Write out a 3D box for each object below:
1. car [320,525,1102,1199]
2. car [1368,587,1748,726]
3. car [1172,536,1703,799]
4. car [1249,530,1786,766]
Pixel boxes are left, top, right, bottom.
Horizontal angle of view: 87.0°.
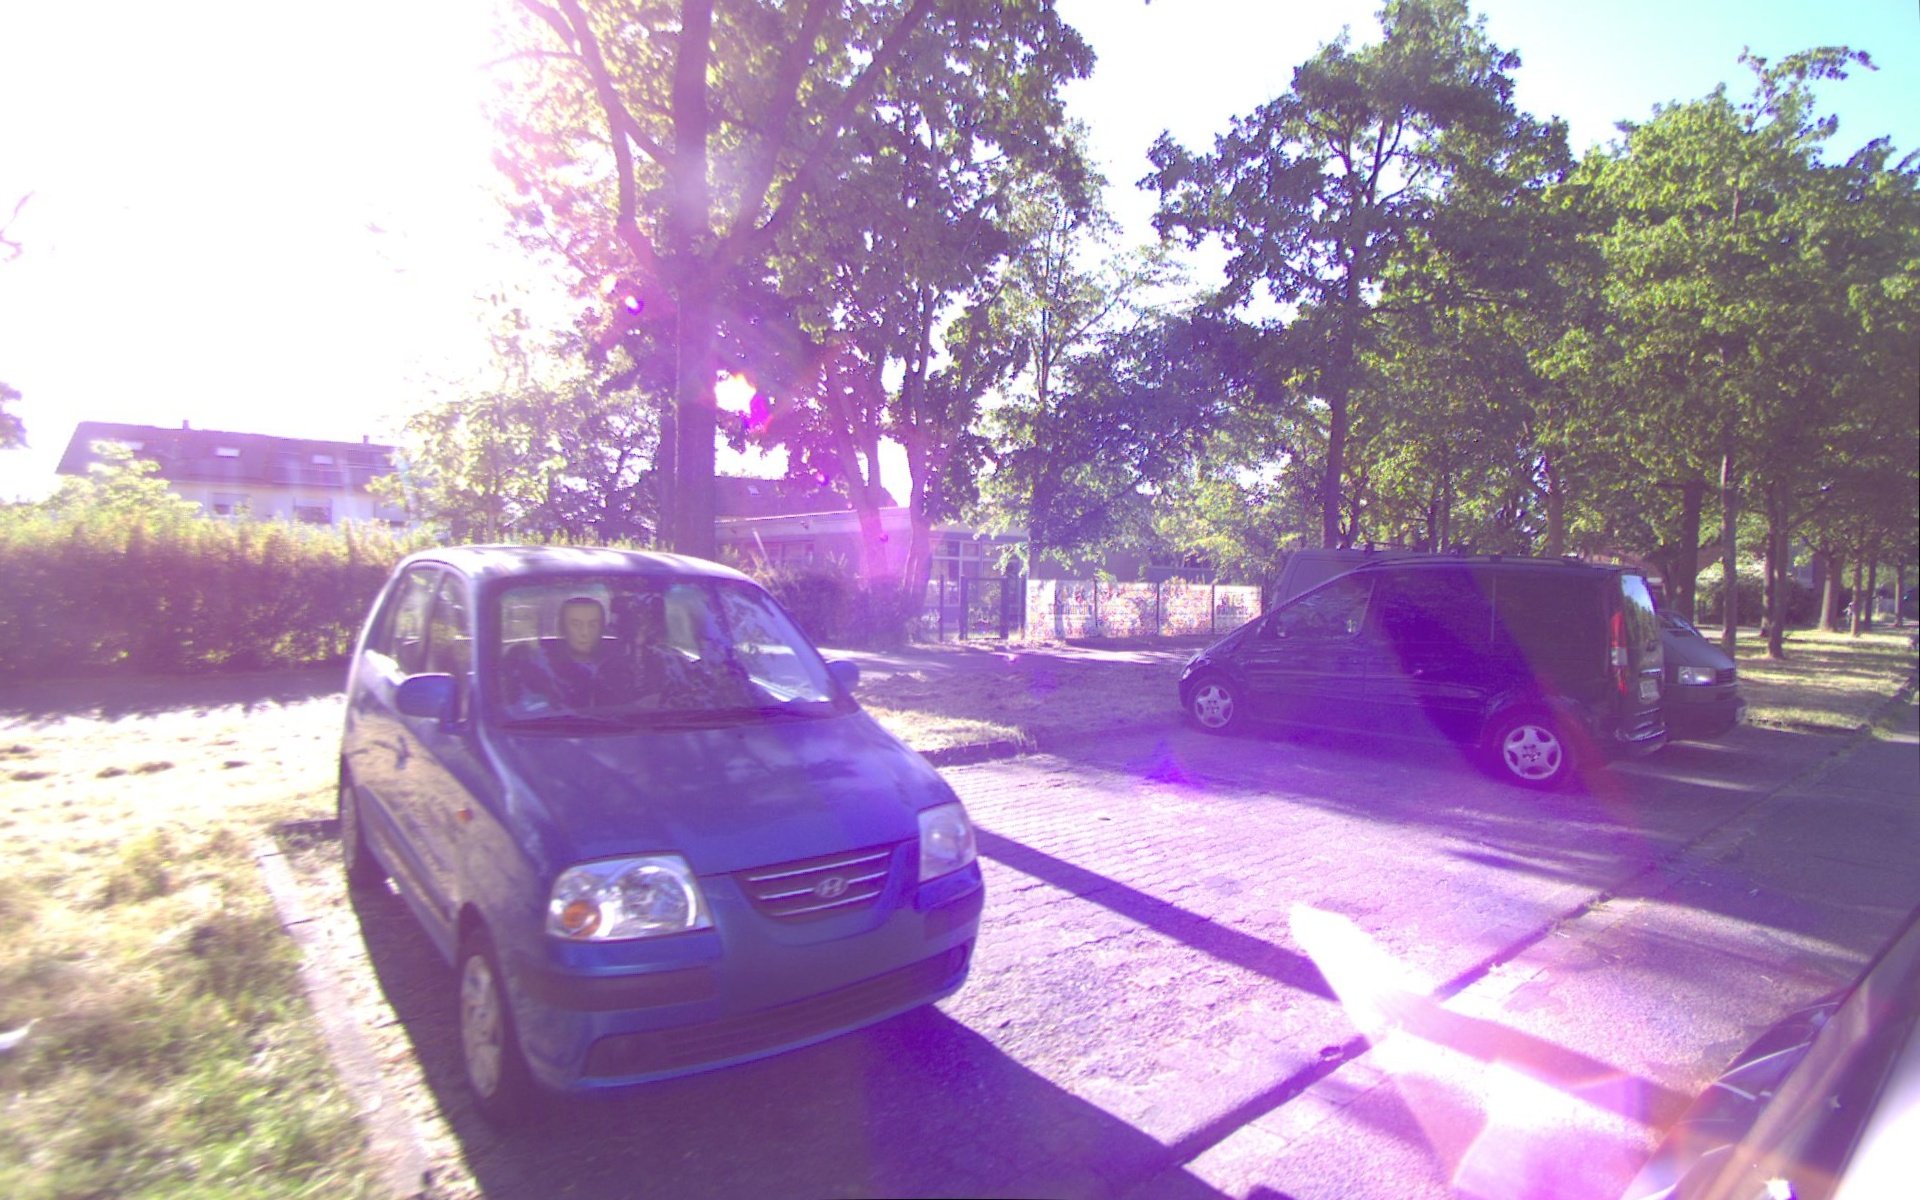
[{"bbox_3d":[-1.321,0.524,4.008,1.635,1.551,3.530,0,3,-39],"label":"car"},{"bbox_3d":[7.768,0.617,13.445,1.709,1.420,3.996,0,2,-41],"label":"car"},{"bbox_3d":[4.172,0.392,9.331,1.769,1.859,4.014,0,3,-43],"label":"car"},{"bbox_3d":[5.872,0.313,11.232,1.910,2.057,4.812,0,2,-41],"label":"car"}]
